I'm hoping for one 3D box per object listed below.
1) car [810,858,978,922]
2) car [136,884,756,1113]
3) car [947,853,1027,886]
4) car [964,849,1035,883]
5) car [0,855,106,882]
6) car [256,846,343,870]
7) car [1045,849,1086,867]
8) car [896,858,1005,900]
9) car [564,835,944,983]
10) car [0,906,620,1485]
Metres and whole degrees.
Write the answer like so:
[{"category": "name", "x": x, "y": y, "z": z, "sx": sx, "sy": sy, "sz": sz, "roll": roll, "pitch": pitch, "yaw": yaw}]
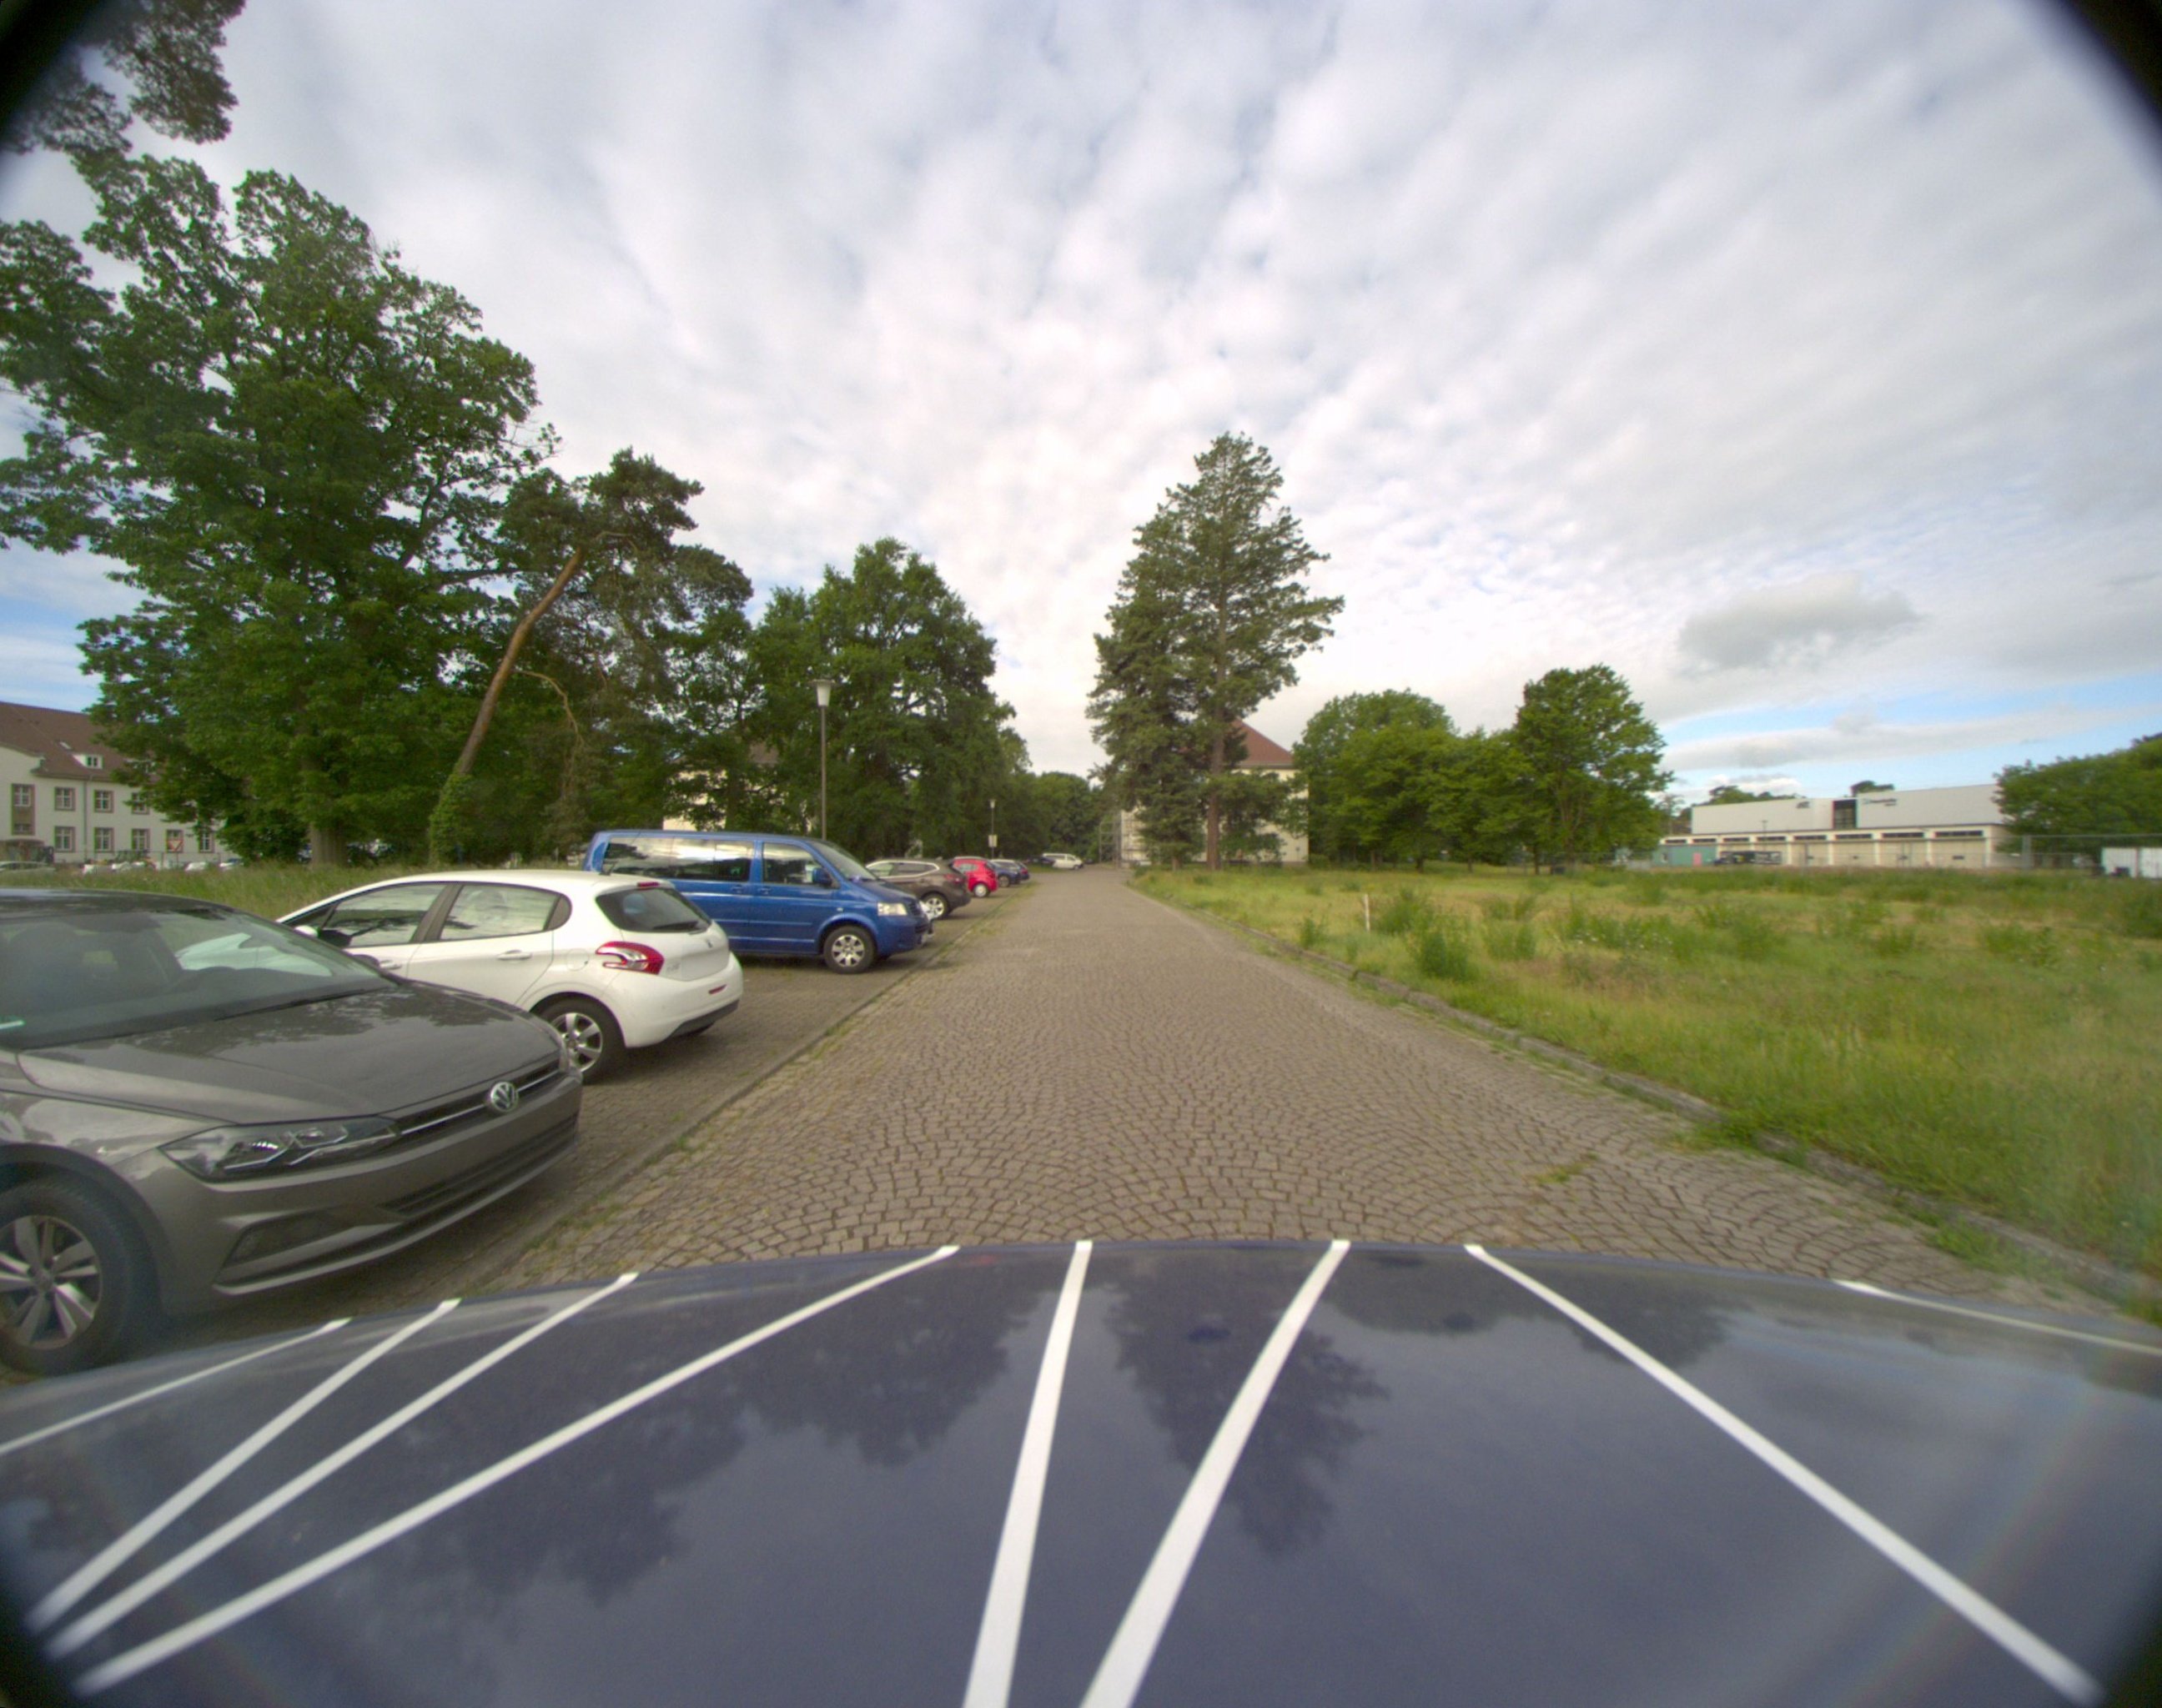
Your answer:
[{"category": "car", "x": -4.866, "y": 0.911, "z": 20.232, "sx": 3.997, "sy": 1.601, "sz": 2.000, "roll": 0, "pitch": 0, "yaw": 0}, {"category": "car", "x": -4.574, "y": 0.995, "z": 5.870, "sx": 3.409, "sy": 1.443, "sz": 1.637, "roll": 0, "pitch": 0, "yaw": 0}, {"category": "car", "x": -5.013, "y": 0.810, "z": 40.810, "sx": 4.007, "sy": 1.752, "sz": 2.000, "roll": 0, "pitch": 0, "yaw": 1}, {"category": "car", "x": -4.801, "y": 0.704, "z": 45.208, "sx": 3.997, "sy": 2.002, "sz": 2.000, "roll": 0, "pitch": 0, "yaw": 1}, {"category": "car", "x": -58.951, "y": 0.777, "z": 43.072, "sx": 1.886, "sy": 1.408, "sz": 4.257, "roll": 0, "pitch": 0, "yaw": 0}, {"category": "car", "x": -68.939, "y": 0.337, "z": 67.177, "sx": 2.153, "sy": 2.002, "sz": 5.224, "roll": 0, "pitch": 0, "yaw": 2}, {"category": "car", "x": -1.900, "y": 0.482, "z": 94.106, "sx": 5.031, "sy": 2.164, "sz": 2.000, "roll": 0, "pitch": 0, "yaw": 1}, {"category": "car", "x": -5.170, "y": 0.966, "z": 30.560, "sx": 3.997, "sy": 1.521, "sz": 2.000, "roll": -1, "pitch": 0, "yaw": 0}, {"category": "car", "x": -4.603, "y": 0.745, "z": 11.293, "sx": 4.749, "sy": 1.928, "sz": 2.000, "roll": 1, "pitch": 0, "yaw": -1}, {"category": "car", "x": -4.323, "y": 1.002, "z": 3.049, "sx": 3.848, "sy": 1.448, "sz": 1.820, "roll": 0, "pitch": 0, "yaw": 2}]
